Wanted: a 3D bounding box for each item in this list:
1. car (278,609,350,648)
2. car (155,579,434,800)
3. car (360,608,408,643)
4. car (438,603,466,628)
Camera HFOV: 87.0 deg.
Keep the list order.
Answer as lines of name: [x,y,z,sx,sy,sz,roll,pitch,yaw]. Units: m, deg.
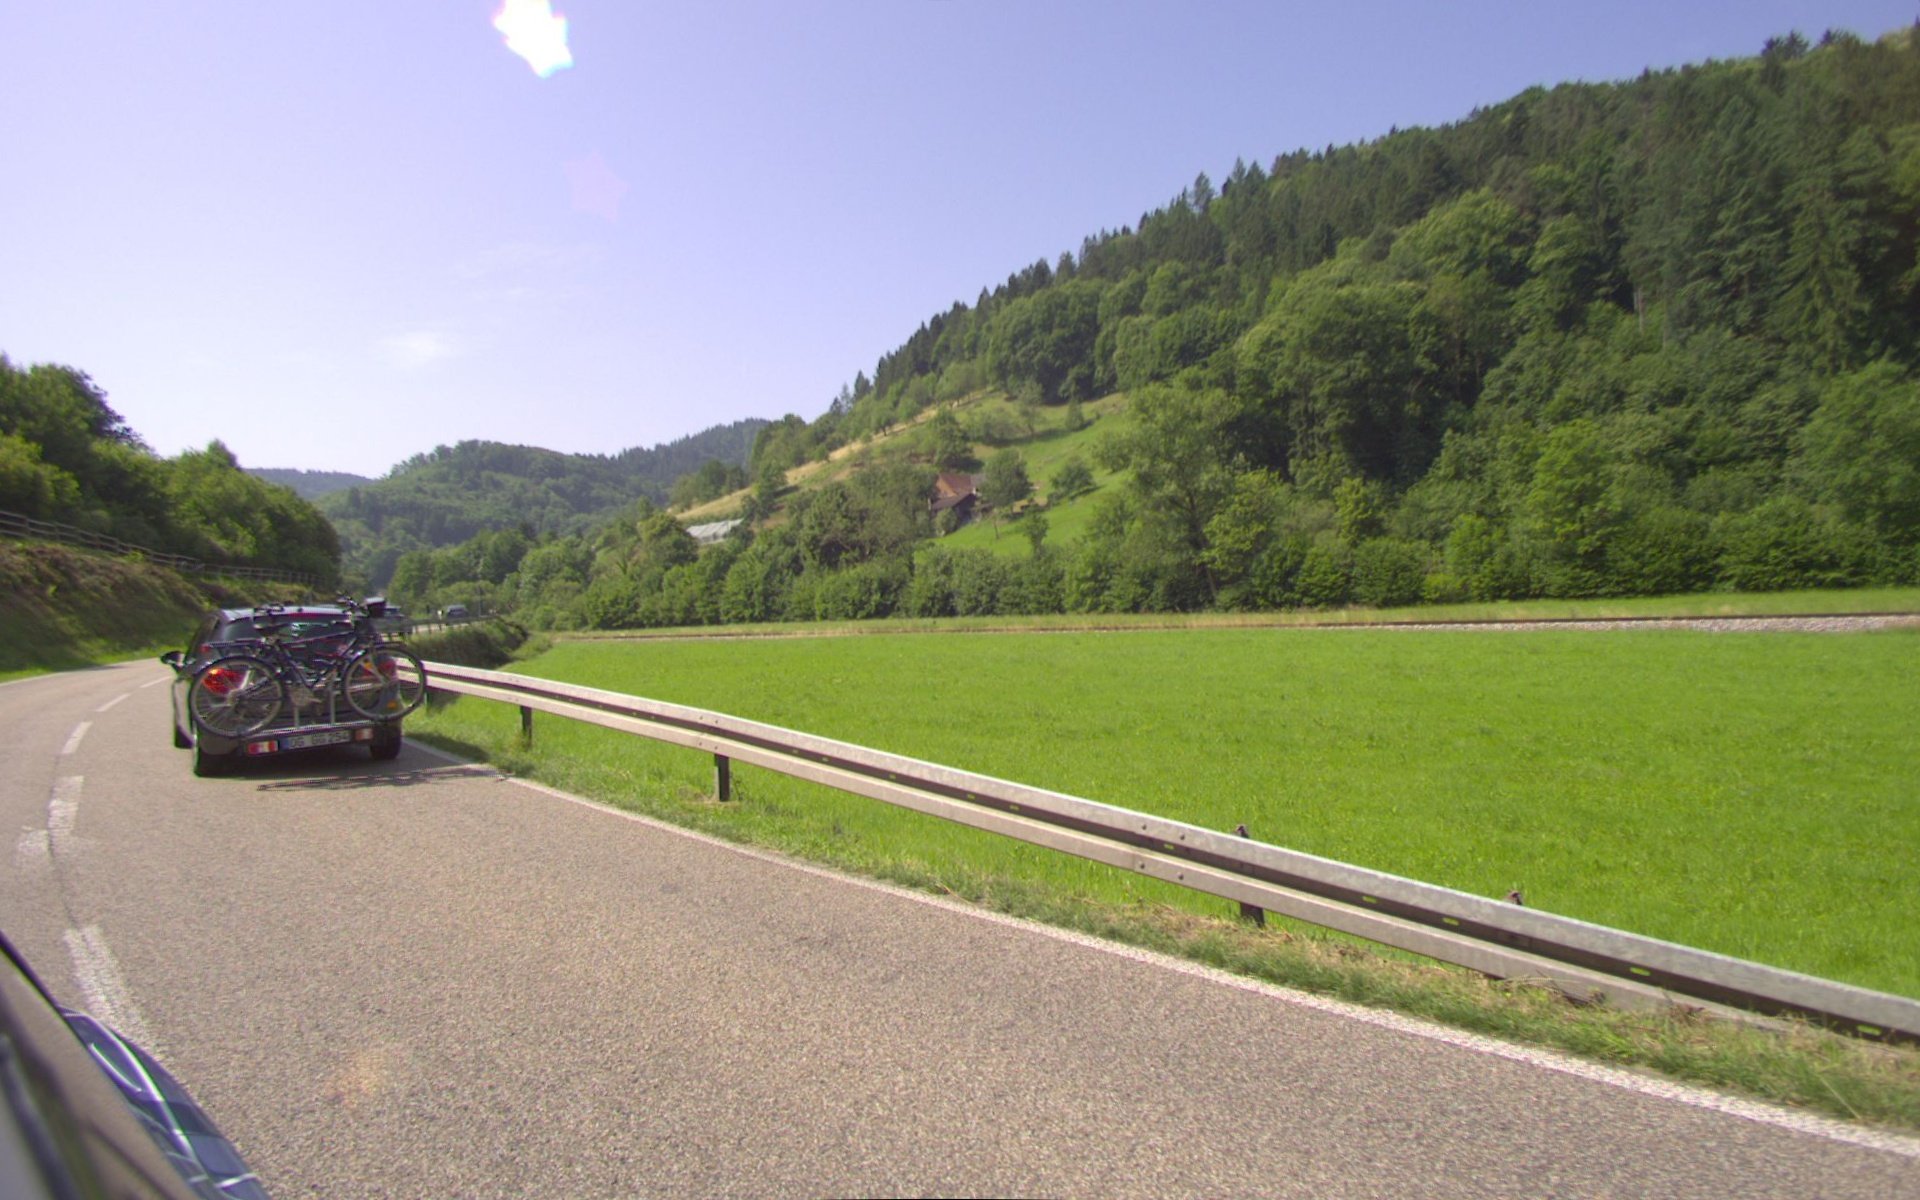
car: [-34.490,1.473,54.168,2.083,1.827,4.469,-4,1,-18]
car: [-7.112,0.783,10.554,1.925,1.753,4.905,1,-2,-39]
car: [-30.252,1.328,53.234,1.684,1.687,4.013,-3,0,-23]
car: [-43.868,1.348,87.428,1.965,2.029,4.013,-1,1,-25]
